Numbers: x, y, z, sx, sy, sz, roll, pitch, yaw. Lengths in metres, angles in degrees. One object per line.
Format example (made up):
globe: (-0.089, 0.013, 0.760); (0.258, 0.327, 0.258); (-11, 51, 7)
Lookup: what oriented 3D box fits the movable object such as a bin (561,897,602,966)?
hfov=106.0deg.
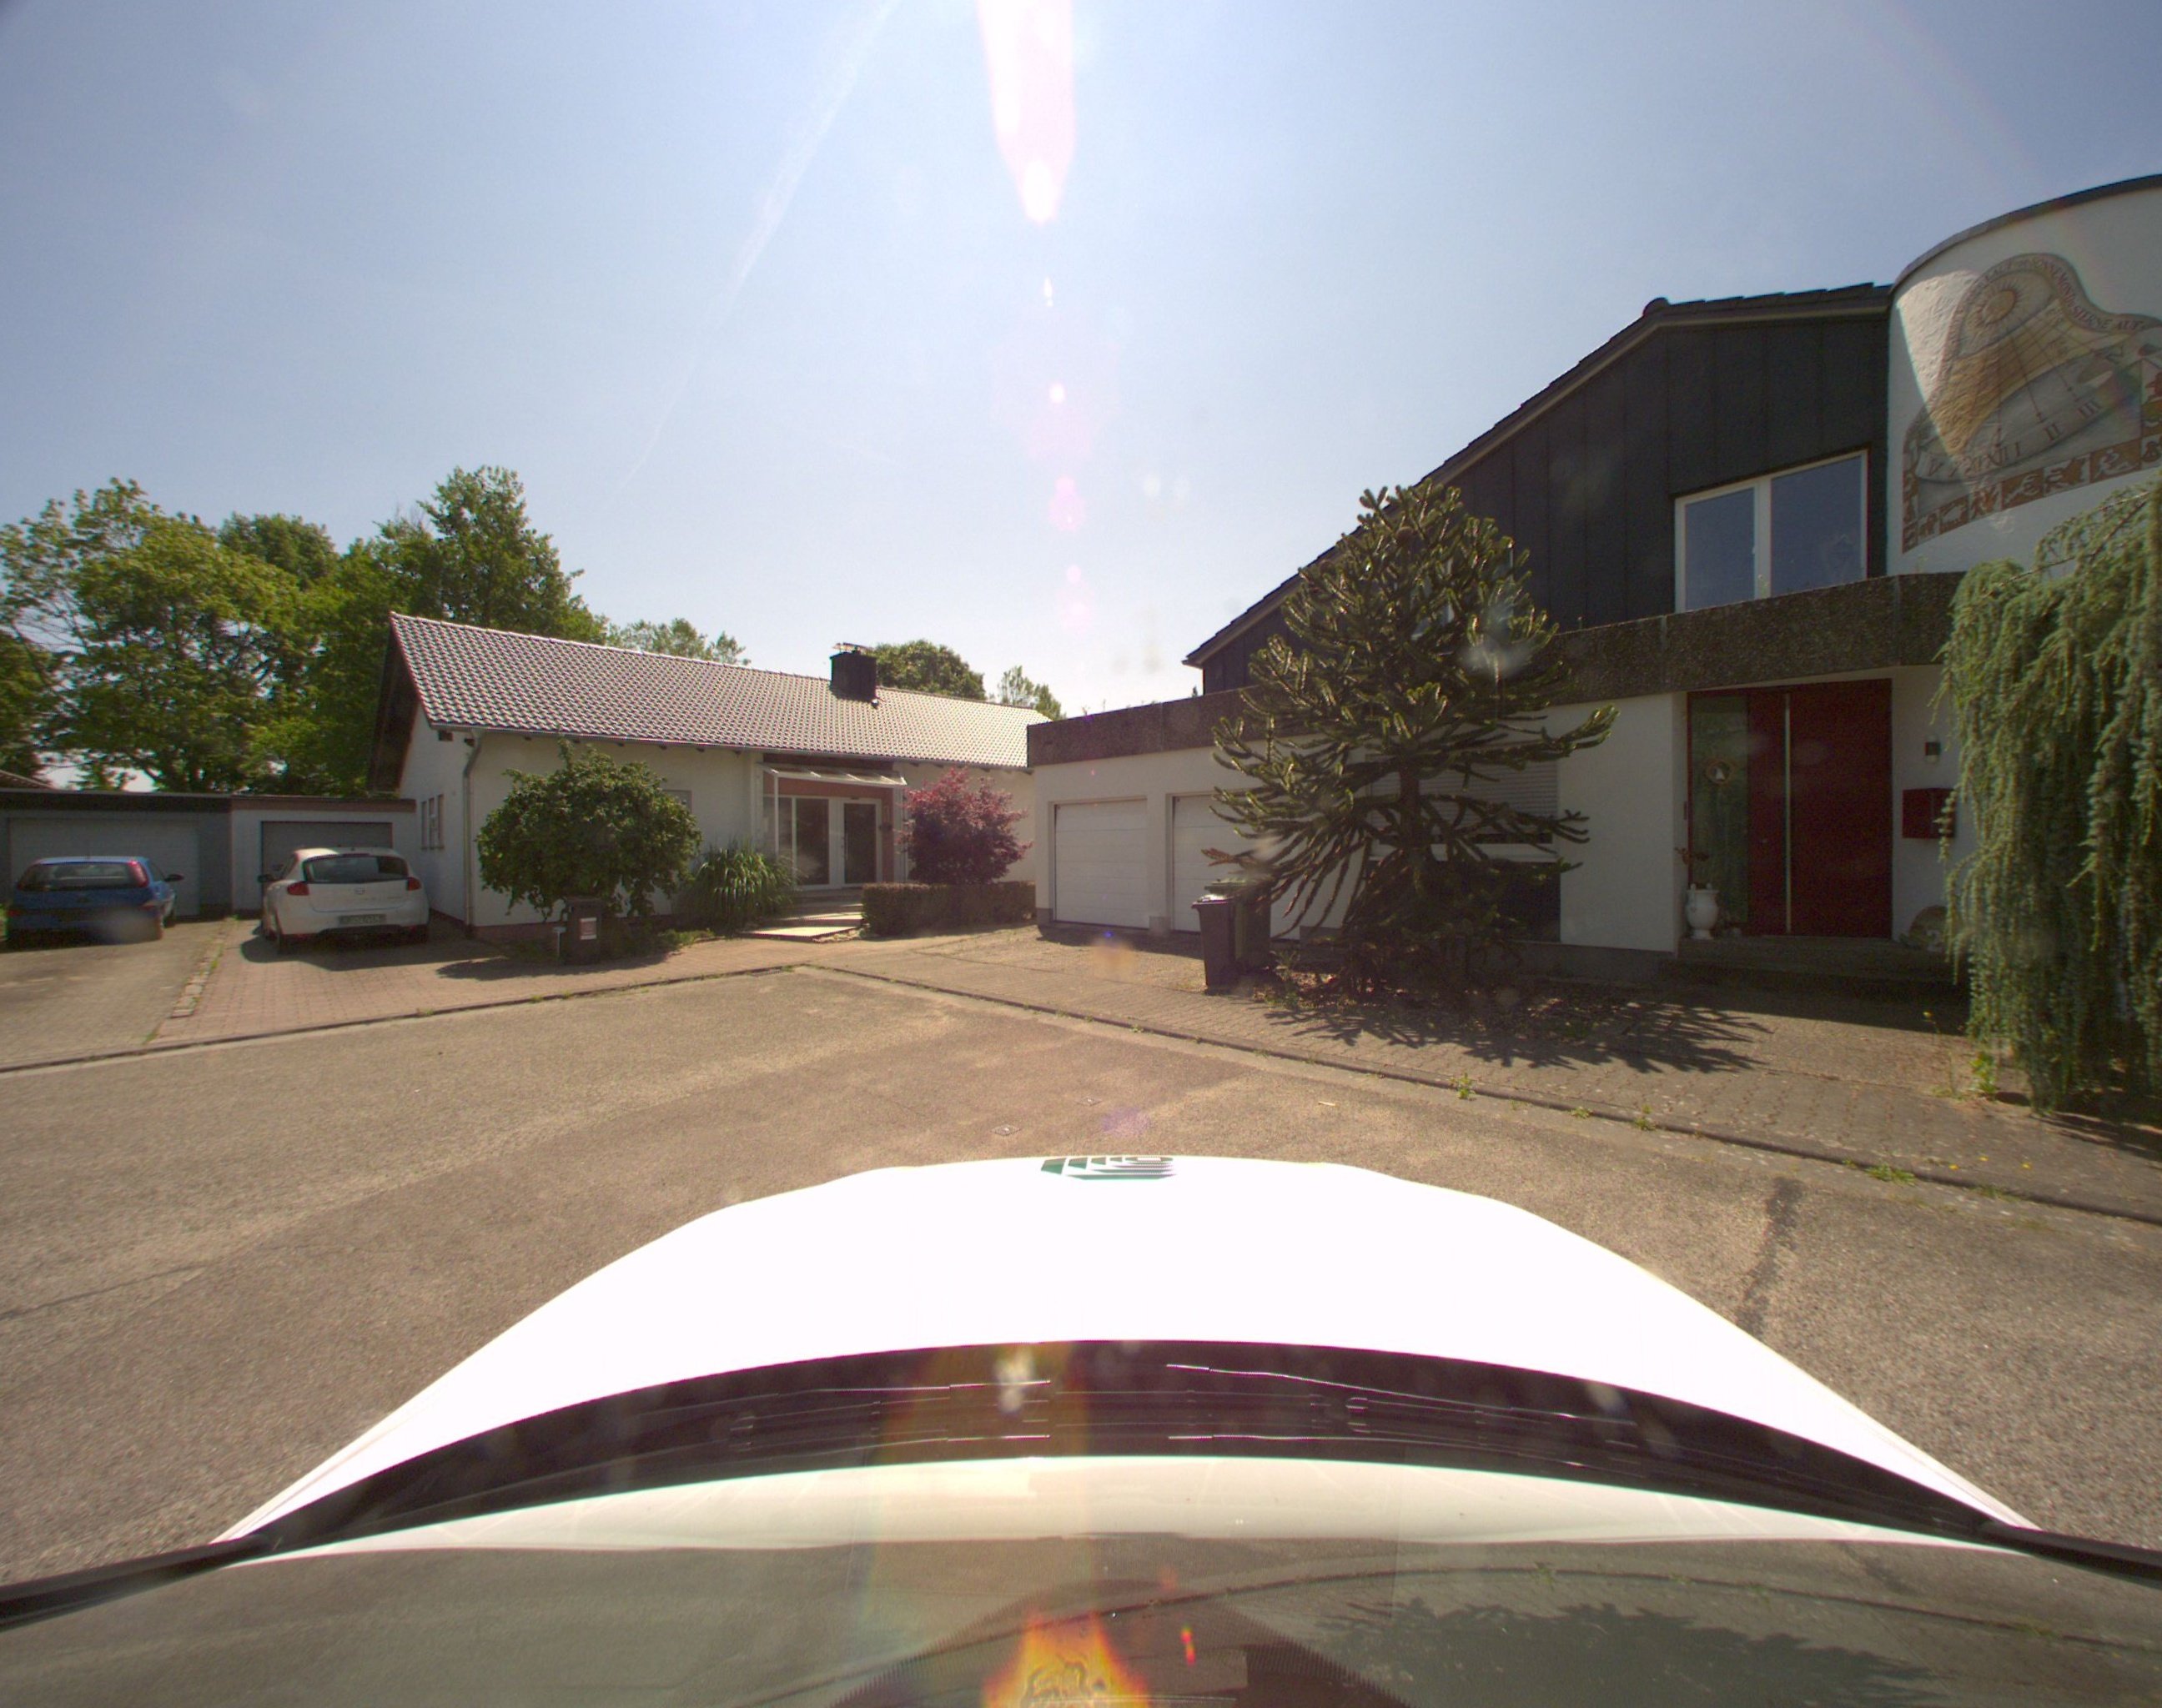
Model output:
movable object such as a bin: (-6.806, 1.045, 11.101); (0.386, 0.891, 0.377); (0, 1, 44)

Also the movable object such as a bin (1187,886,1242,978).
movable object such as a bin: (1.444, 0.827, 8.813); (0.518, 0.950, 0.391); (0, 0, 19)

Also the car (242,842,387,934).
car: (-15.613, 0.576, 16.604); (1.940, 1.607, 3.951); (-2, 2, -44)

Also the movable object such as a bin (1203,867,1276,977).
movable object such as a bin: (1.845, 0.762, 9.494); (0.554, 1.203, 0.626); (-1, 0, -44)

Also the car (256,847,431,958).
car: (-12.311, 0.670, 13.522); (3.949, 1.568, 1.763); (0, 1, 42)

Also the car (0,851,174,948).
car: (-17.447, 0.703, 14.443); (1.629, 1.455, 3.214); (0, 2, -45)
